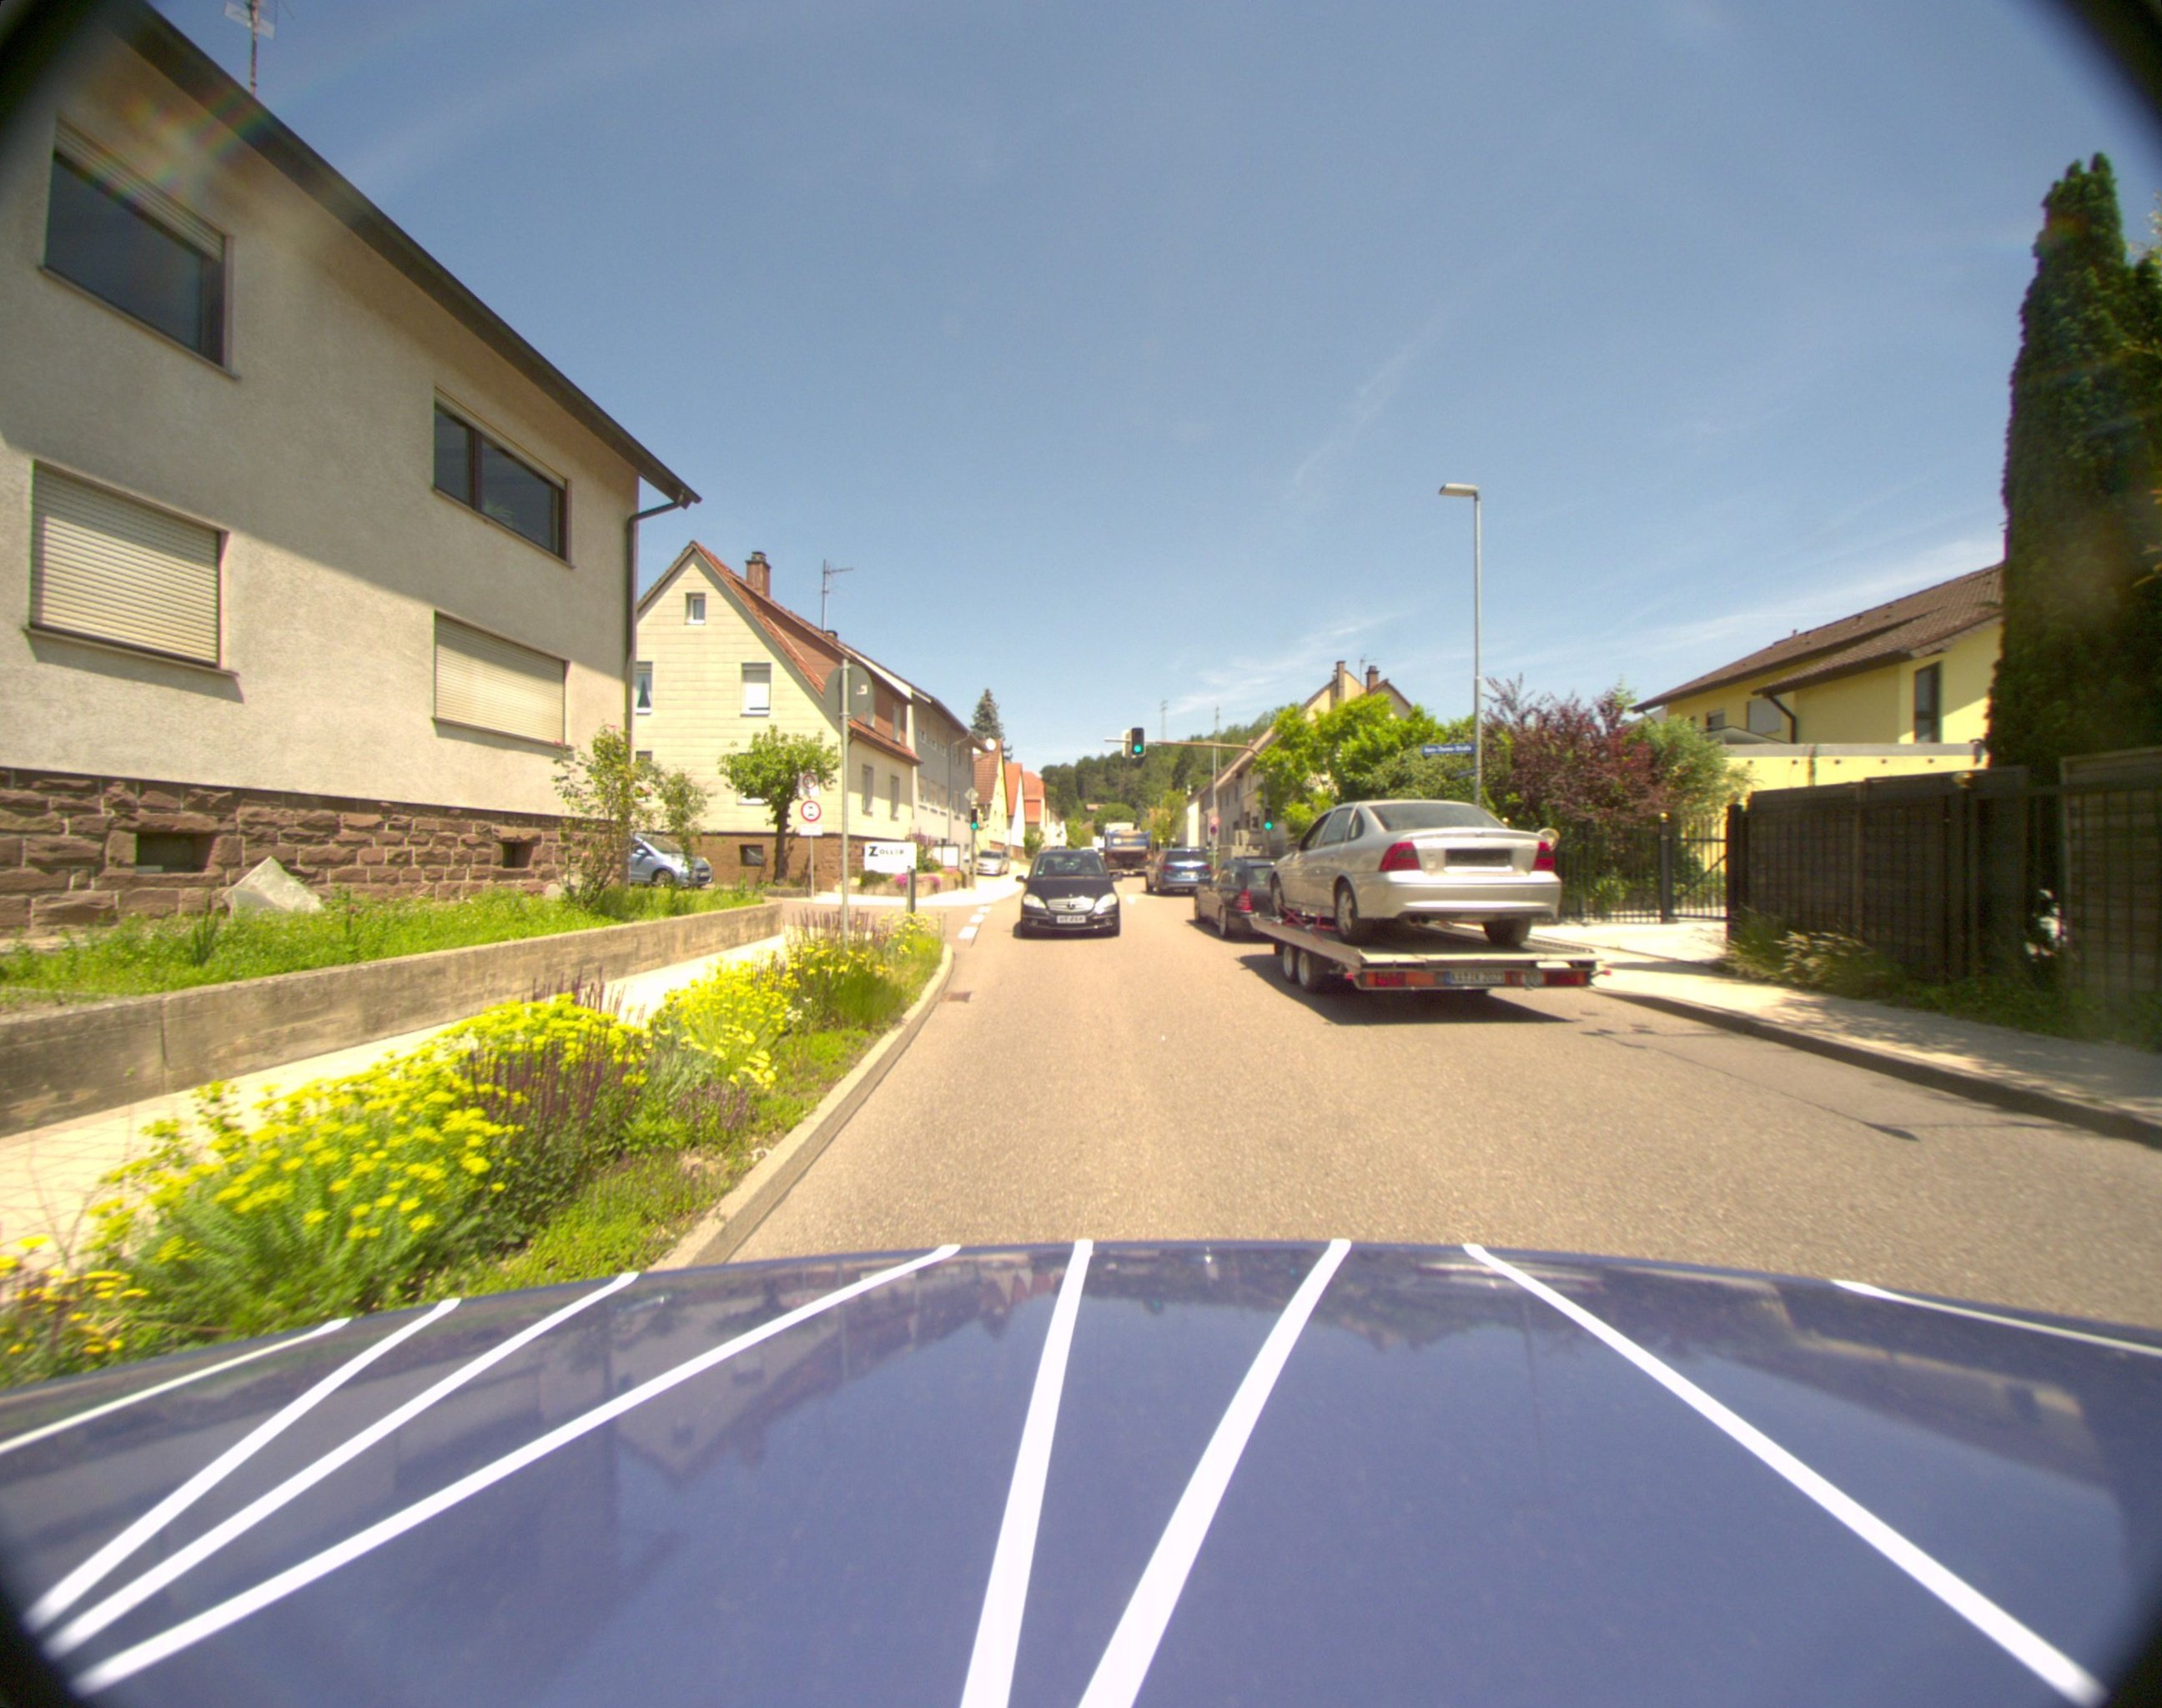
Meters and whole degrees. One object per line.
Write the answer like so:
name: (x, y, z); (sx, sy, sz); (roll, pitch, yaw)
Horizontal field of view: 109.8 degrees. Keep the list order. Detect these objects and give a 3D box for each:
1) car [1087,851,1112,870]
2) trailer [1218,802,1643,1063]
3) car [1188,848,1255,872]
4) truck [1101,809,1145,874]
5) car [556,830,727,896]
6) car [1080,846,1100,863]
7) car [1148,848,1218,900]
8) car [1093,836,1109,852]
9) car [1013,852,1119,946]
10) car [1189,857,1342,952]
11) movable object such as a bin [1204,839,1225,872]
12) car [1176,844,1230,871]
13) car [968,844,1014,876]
car: (1.531, 0.550, 64.666); (1.998, 1.477, 4.222); (-2, 1, 0)
trailer: (3.282, 0.560, 9.007); (2.161, 1.975, 6.200); (-2, 1, 0)
car: (9.284, 0.421, 50.351); (4.040, 1.491, 1.707); (-1, 2, 40)
truck: (2.679, -0.751, 48.277); (2.547, 3.716, 8.623); (1, 0, 3)
car: (-11.752, 0.213, 20.468); (3.522, 1.484, 1.800); (4, 2, 3)
car: (0.960, 0.058, 81.309); (1.998, 1.716, 4.000); (-2, 1, 0)
car: (3.529, 0.646, 27.082); (1.893, 1.636, 4.612); (0, 1, 0)
car: (2.760, -1.376, 104.655); (1.986, 2.170, 4.001); (-1, 1, 5)
car: (-0.139, 0.780, 15.477); (1.767, 1.572, 4.932); (-1, 0, 3)
car: (3.210, 0.809, 14.082); (1.771, 1.394, 4.247); (-2, 1, 0)
movable object such as a bin: (8.542, 0.082, 48.679); (1.061, 2.002, 1.323); (-1, 1, 2)
car: (8.735, 0.216, 54.576); (3.605, 1.780, 1.848); (-2, 1, 0)
car: (-5.196, 0.306, 44.458); (1.867, 1.612, 4.508); (3, 1, 3)
